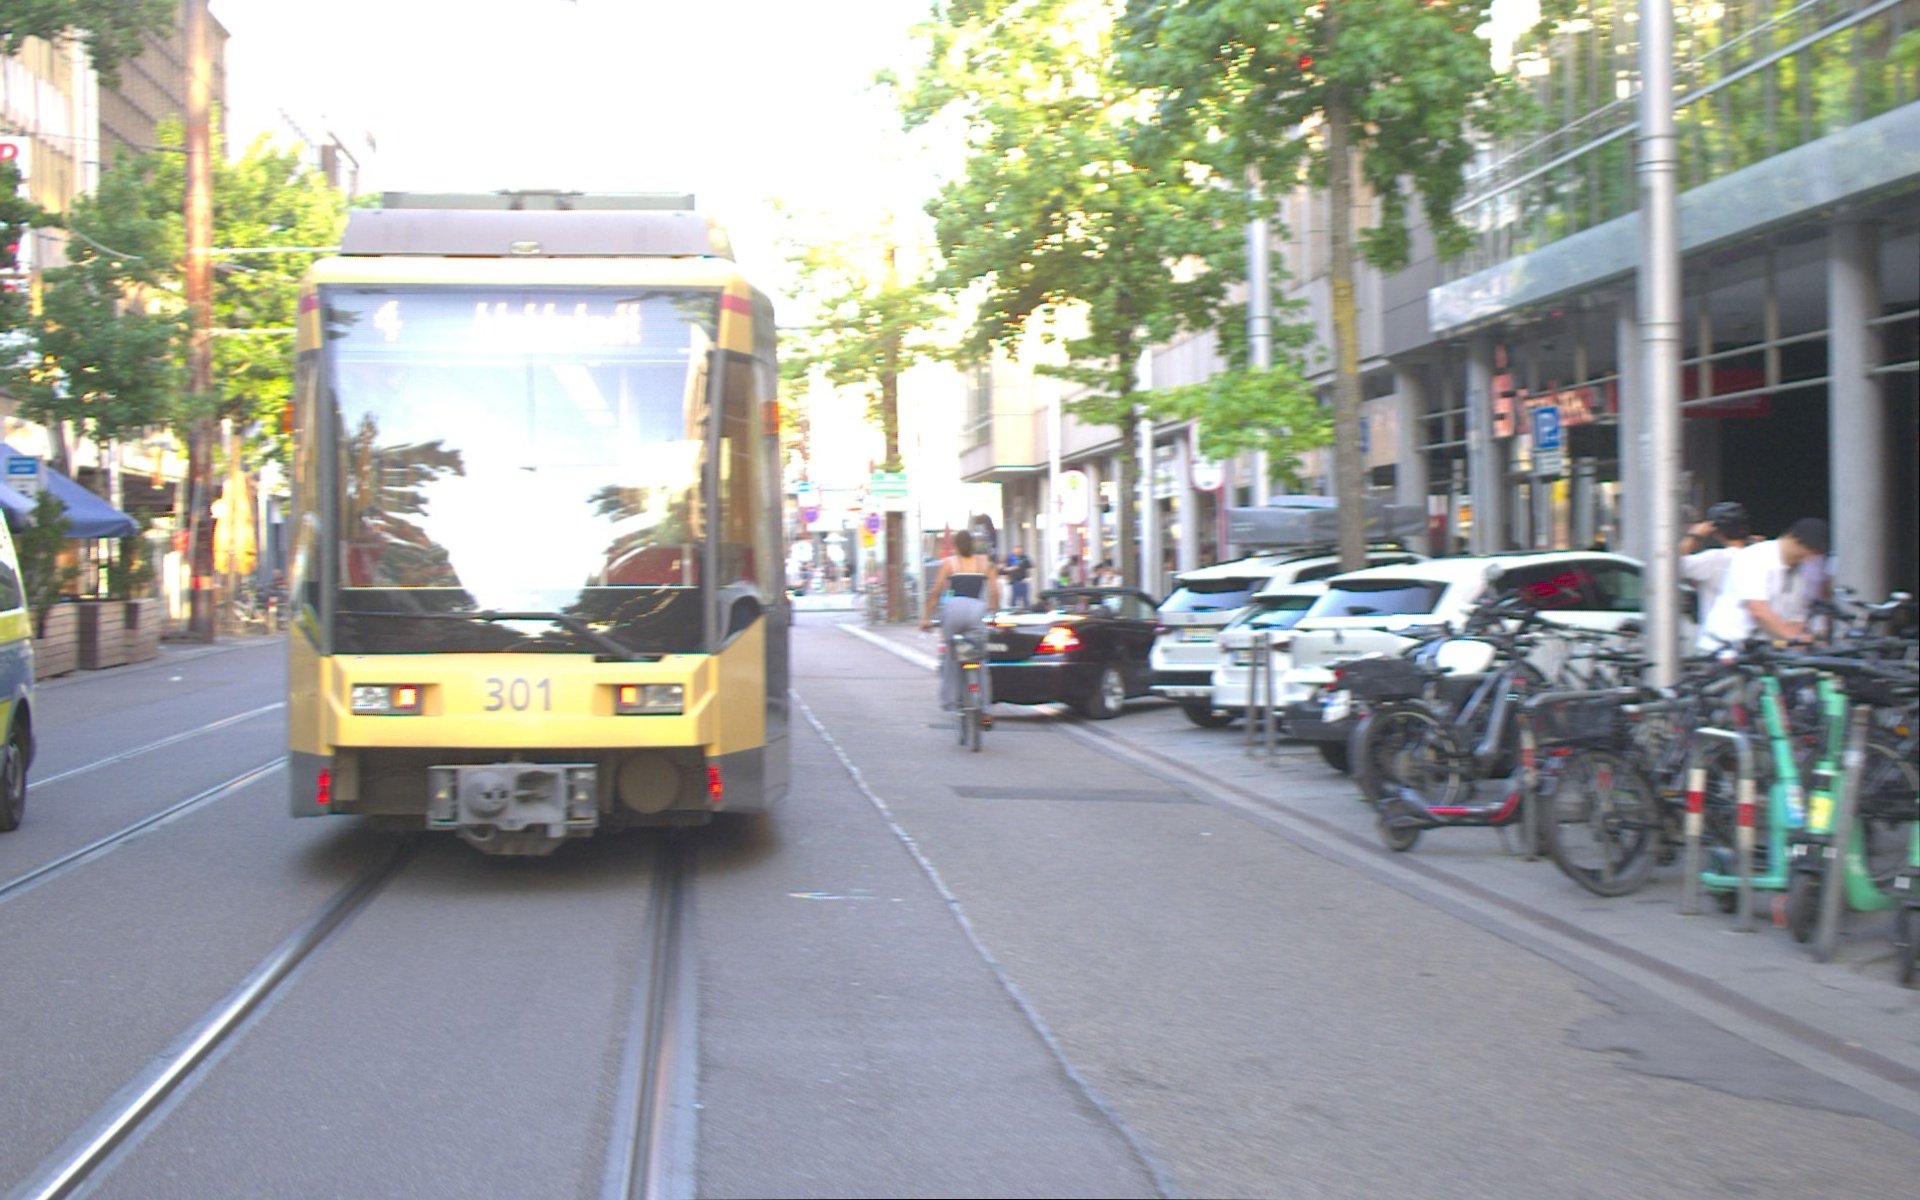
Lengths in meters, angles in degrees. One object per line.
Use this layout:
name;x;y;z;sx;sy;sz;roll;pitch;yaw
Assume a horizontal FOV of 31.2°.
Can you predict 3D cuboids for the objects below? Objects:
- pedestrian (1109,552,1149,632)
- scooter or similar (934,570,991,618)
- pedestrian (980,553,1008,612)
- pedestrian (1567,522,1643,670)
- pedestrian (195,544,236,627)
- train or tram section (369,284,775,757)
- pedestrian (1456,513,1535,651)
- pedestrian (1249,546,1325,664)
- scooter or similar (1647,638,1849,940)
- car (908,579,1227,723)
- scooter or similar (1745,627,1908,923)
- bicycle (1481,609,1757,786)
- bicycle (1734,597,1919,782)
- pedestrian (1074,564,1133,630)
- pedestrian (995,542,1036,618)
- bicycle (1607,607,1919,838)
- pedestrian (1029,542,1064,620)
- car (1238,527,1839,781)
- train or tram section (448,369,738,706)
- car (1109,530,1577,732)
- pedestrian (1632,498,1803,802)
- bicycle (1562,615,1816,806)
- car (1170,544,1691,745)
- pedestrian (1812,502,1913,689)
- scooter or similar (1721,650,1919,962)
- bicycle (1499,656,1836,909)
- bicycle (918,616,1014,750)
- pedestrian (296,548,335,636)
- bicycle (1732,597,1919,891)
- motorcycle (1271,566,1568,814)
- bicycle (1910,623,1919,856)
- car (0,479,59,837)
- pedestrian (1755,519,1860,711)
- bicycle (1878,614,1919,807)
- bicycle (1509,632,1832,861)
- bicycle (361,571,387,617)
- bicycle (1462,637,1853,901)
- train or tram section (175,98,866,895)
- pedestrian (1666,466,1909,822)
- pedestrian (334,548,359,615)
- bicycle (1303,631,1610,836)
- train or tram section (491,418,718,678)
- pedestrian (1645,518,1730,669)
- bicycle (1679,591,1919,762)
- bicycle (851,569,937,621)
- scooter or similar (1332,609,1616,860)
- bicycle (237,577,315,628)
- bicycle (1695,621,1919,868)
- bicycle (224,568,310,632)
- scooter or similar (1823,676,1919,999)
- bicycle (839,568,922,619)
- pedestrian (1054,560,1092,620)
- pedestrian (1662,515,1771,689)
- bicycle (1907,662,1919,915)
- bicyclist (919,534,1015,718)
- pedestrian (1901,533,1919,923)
pedestrian;3.516;-0.173;71.501;0.701;1.632;0.646;-2;2;-4
scooter or similar;0.068;-0.159;90.570;1.379;1.206;0.516;-1;0;-18
pedestrian;0.996;-0.516;100.833;0.701;1.678;0.680;-2;2;-4
pedestrian;7.201;-0.048;38.395;0.596;1.610;0.755;-2;2;-5
pedestrian;-18.083;-0.352;83.538;0.849;2.007;0.921;0;0;-5
train or tram section;-3.361;-0.629;30.805;3.007;3.511;10.404;0;0;-5
pedestrian;7.310;-0.256;46.989;0.832;1.830;0.944;-2;2;-4
pedestrian;4.444;0.058;46.762;0.877;1.576;0.755;1;1;-5
scooter or similar;3.410;0.795;14.951;0.482;1.218;1.214;-3;0;-3
car;1.213;0.490;36.296;1.804;1.344;4.440;0;1;24
scooter or similar;3.831;0.753;15.269;0.568;1.201;1.281;-2;1;10
bicycle;4.550;0.655;23.698;1.744;1.113;0.918;-2;1;-39
bicycle;6.075;0.567;22.689;1.786;1.113;0.844;-3;1;-34
pedestrian;3.041;-0.070;72.830;1.112;1.323;0.926;-2;1;-4
pedestrian;1.302;-0.469;81.263;0.888;1.776;0.752;0;0;-6
bicycle;4.721;0.669;19.429;1.993;1.144;0.698;-3;2;-22
pedestrian;1.963;-0.430;78.096;0.749;1.776;0.891;0;0;-1
car;4.358;0.362;25.610;4.331;1.557;1.877;-4;1;-37
train or tram section;-4.331;-0.704;41.395;3.003;3.511;10.847;0;0;-5
car;3.703;0.268;32.957;4.195;1.632;1.920;-4;2;-36
pedestrian;4.699;0.295;21.317;0.817;1.806;0.600;-5;3;-43
bicycle;4.625;0.682;21.763;1.592;1.030;0.553;-6;3;-34
car;4.155;0.367;30.284;4.171;1.453;1.864;-4;1;-27
pedestrian;8.241;-0.039;31.412;0.662;1.693;0.806;0;0;-5
scooter or similar;3.744;0.818;14.137;1.329;1.178;0.499;-2;1;-42
bicycle;3.448;0.860;16.679;1.743;1.072;0.494;-3;2;-34
bicycle;0.038;0.683;29.040;0.656;1.057;2.057;1;0;-4
pedestrian;-13.935;-0.176;74.313;0.750;1.873;0.576;2;-1;-8
bicycle;4.628;0.634;16.208;1.827;1.269;0.681;-3;2;-23
motorcycle;3.030;0.554;22.495;0.795;1.466;2.200;0;2;42
bicycle;5.585;0.651;17.005;1.690;1.145;0.502;-3;2;-19
car;-6.222;0.333;18.174;1.993;1.970;4.850;0;1;-5
pedestrian;7.558;0.133;30.675;0.679;1.693;0.806;0;0;-5
bicycle;6.296;0.609;20.051;1.827;1.090;0.824;-2;1;-35
bicycle;3.906;0.777;18.824;1.828;1.072;0.624;-4;2;-36
bicycle;-14.897;-0.139;87.368;0.611;1.122;2.252;2;-1;-10
bicycle;3.489;0.810;17.107;1.987;1.126;0.680;-4;2;-34
train or tram section;-2.416;-0.492;20.453;3.016;3.512;10.372;-1;0;-5
pedestrian;4.664;0.229;19.423;0.949;1.907;0.863;-4;2;-16
pedestrian;-15.642;-0.479;87.656;0.551;1.681;0.576;2;-1;-8
bicycle;3.010;0.783;20.795;1.744;1.113;0.807;-2;1;-36
train or tram section;-5.317;-0.746;52.059;3.044;3.511;10.532;1;0;-5
pedestrian;8.031;-0.083;37.979;0.596;1.610;1.022;-2;2;-5
bicycle;6.107;0.524;24.388;1.744;1.113;0.936;-2;1;-28
bicycle;-1.853;-0.138;95.879;2.328;1.467;0.791;0;0;-8
scooter or similar;2.814;0.711;18.888;0.695;1.300;1.392;-3;2;-43
bicycle;-16.158;0.060;81.219;1.733;1.122;0.563;2;-1;-8
bicycle;4.606;0.709;17.519;1.681;1.135;0.478;-3;2;-24
bicycle;-15.536;0.000;77.107;1.796;1.355;0.660;2;-1;-16
scooter or similar;3.930;0.881;13.320;0.579;1.146;1.398;0;2;39
bicycle;-2.312;-0.189;99.949;2.328;1.467;0.791;0;0;-8
pedestrian;2.575;-0.239;78.388;0.739;1.323;0.720;-2;2;-4
pedestrian;7.969;0.013;36.242;0.877;1.776;0.755;-2;2;-5
bicycle;4.902;0.787;14.153;0.629;1.072;1.879;-4;2;-40
bicyclist;0.052;0.220;29.060;0.726;1.521;0.733;1;0;-4
pedestrian;4.452;0.516;14.636;0.790;1.620;0.769;-2;1;15
